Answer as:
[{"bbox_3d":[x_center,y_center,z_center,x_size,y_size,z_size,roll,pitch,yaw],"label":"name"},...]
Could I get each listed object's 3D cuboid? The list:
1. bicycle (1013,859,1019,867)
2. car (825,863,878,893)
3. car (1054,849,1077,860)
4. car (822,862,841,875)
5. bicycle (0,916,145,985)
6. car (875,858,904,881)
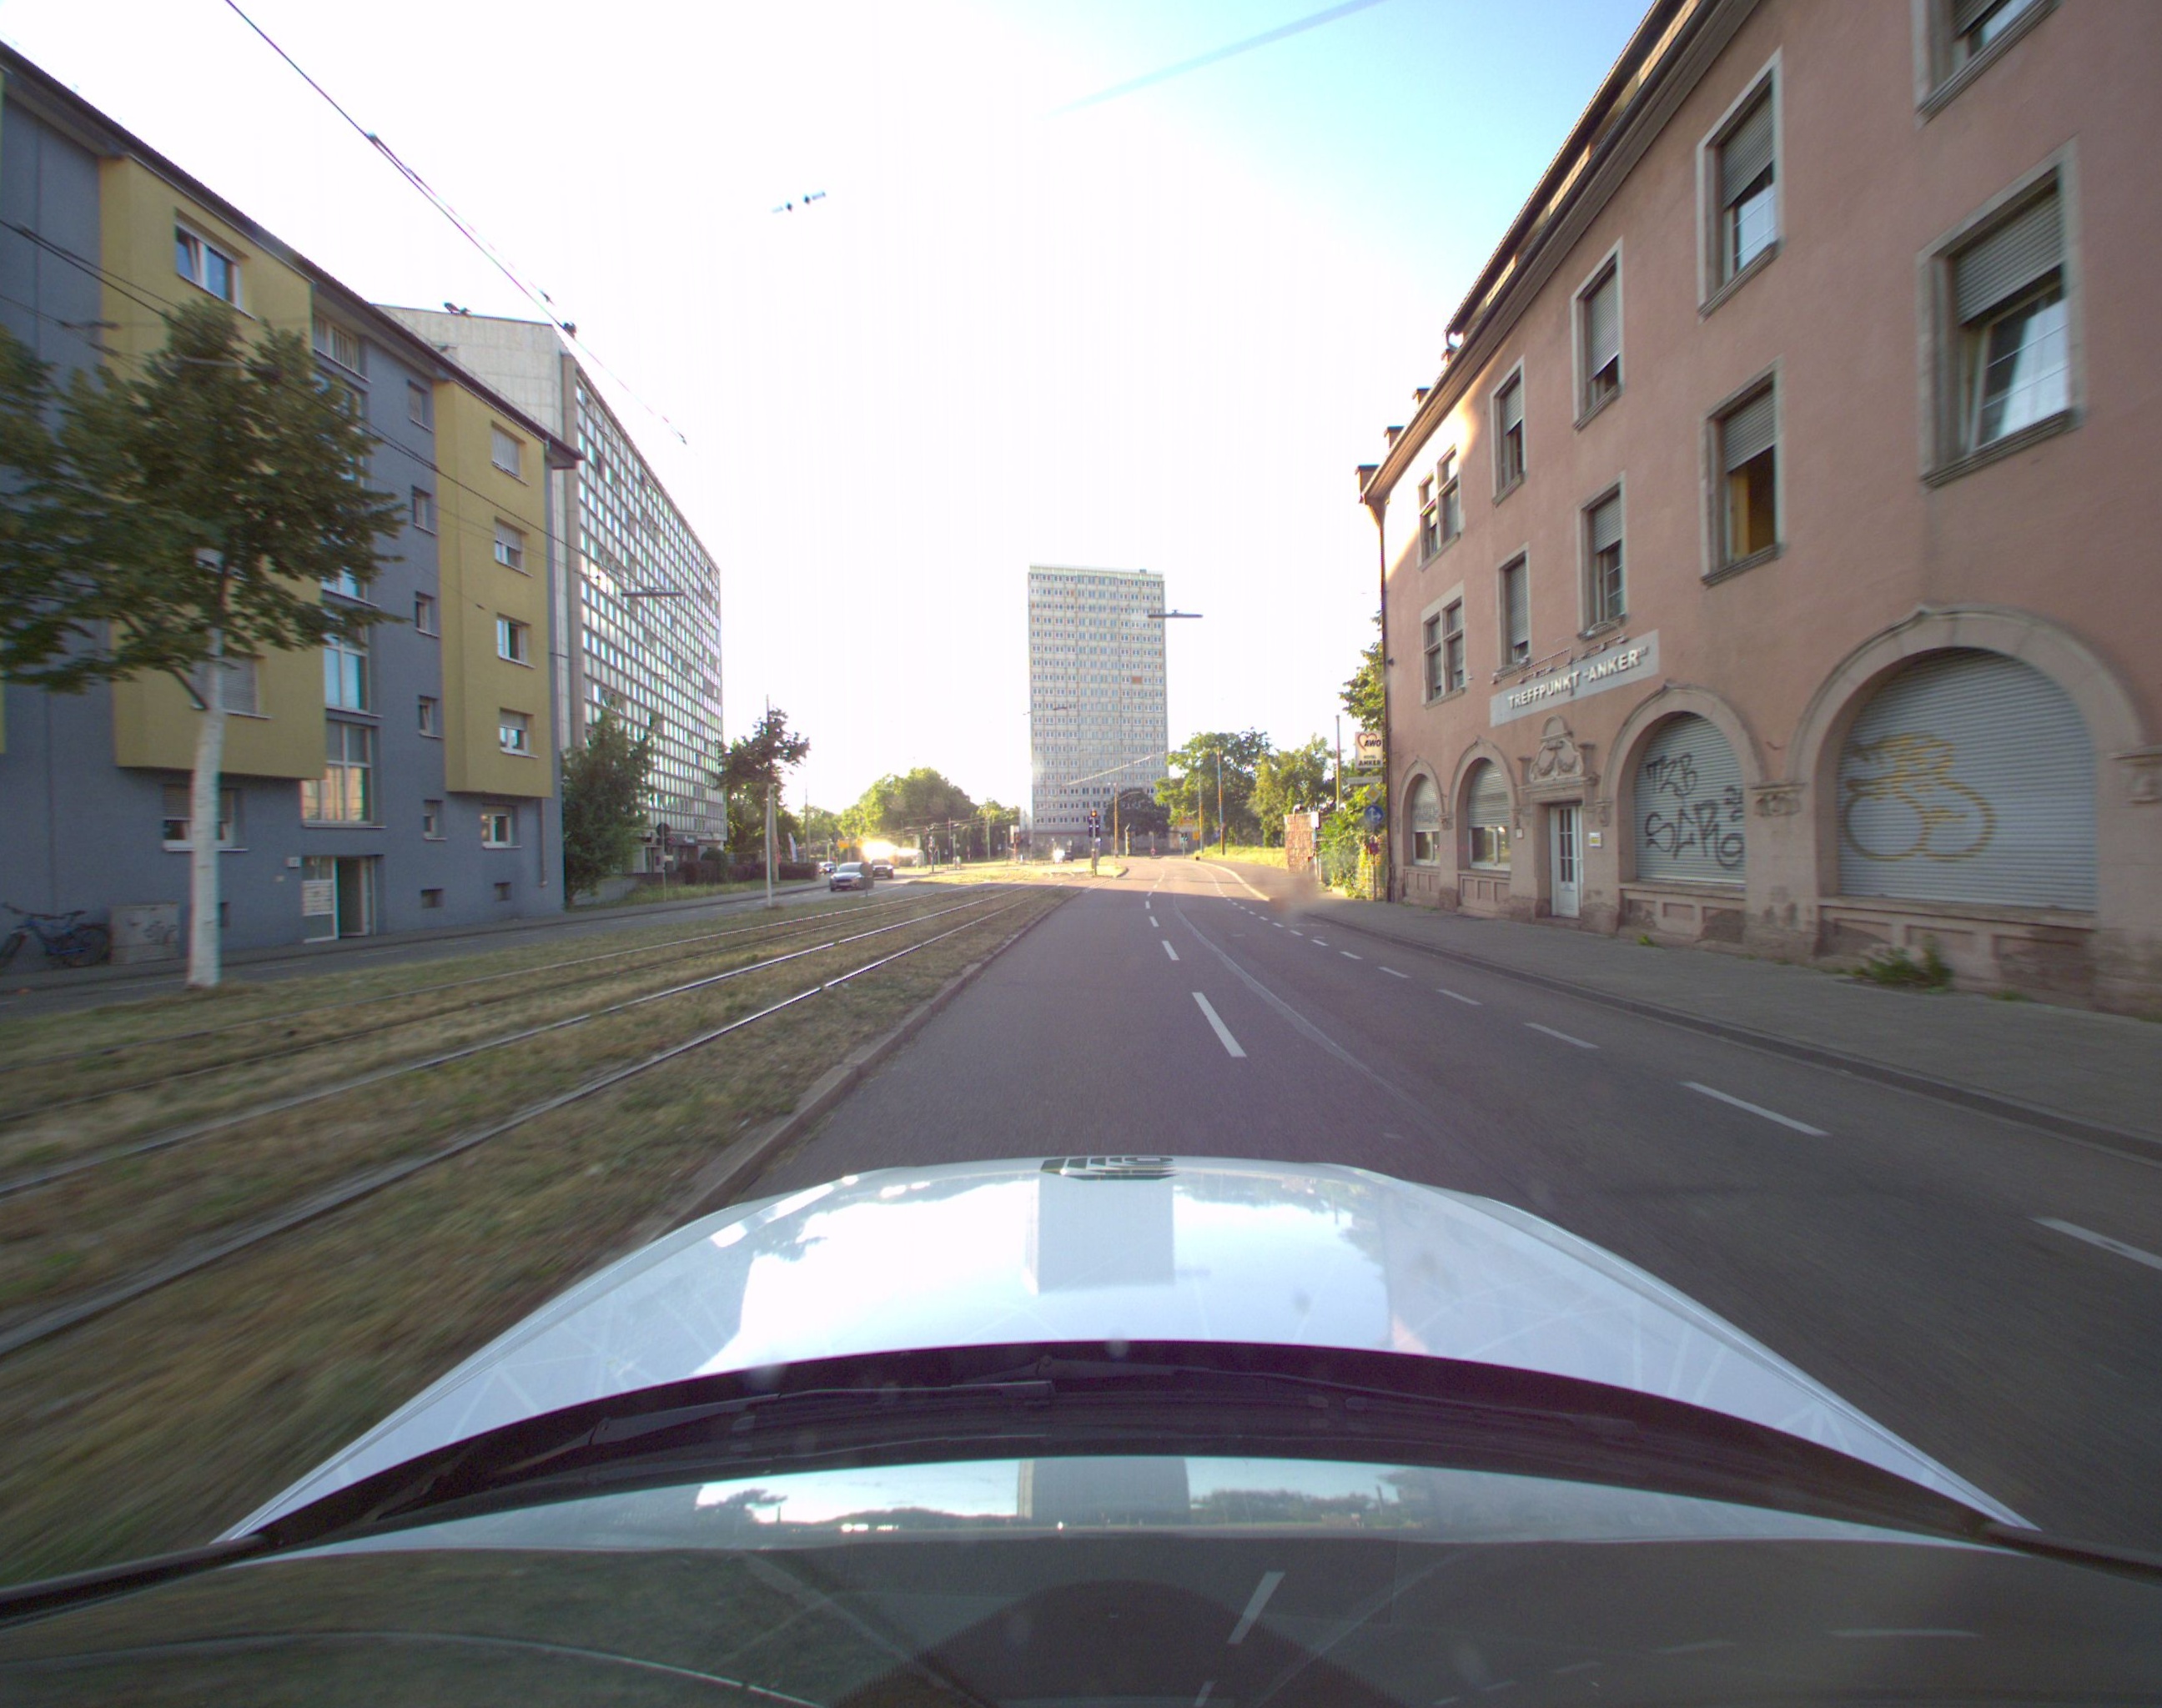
[{"bbox_3d":[-9.096,1.263,114.092,0.550,0.917,1.746,-4,1,6],"label":"bicycle"},{"bbox_3d":[-12.660,1.310,45.206,1.693,1.460,4.314,-4,0,-1],"label":"car"},{"bbox_3d":[-2.203,0.141,113.092,1.782,1.422,3.823,-3,1,-26],"label":"car"},{"bbox_3d":[-30.006,1.756,97.810,1.784,1.482,4.366,-2,0,-23],"label":"car"},{"bbox_3d":[-17.669,1.645,14.184,0.425,0.960,1.913,-2,0,3],"label":"bicycle"},{"bbox_3d":[-15.469,1.215,65.921,1.918,1.661,4.692,-3,1,-10],"label":"car"}]
